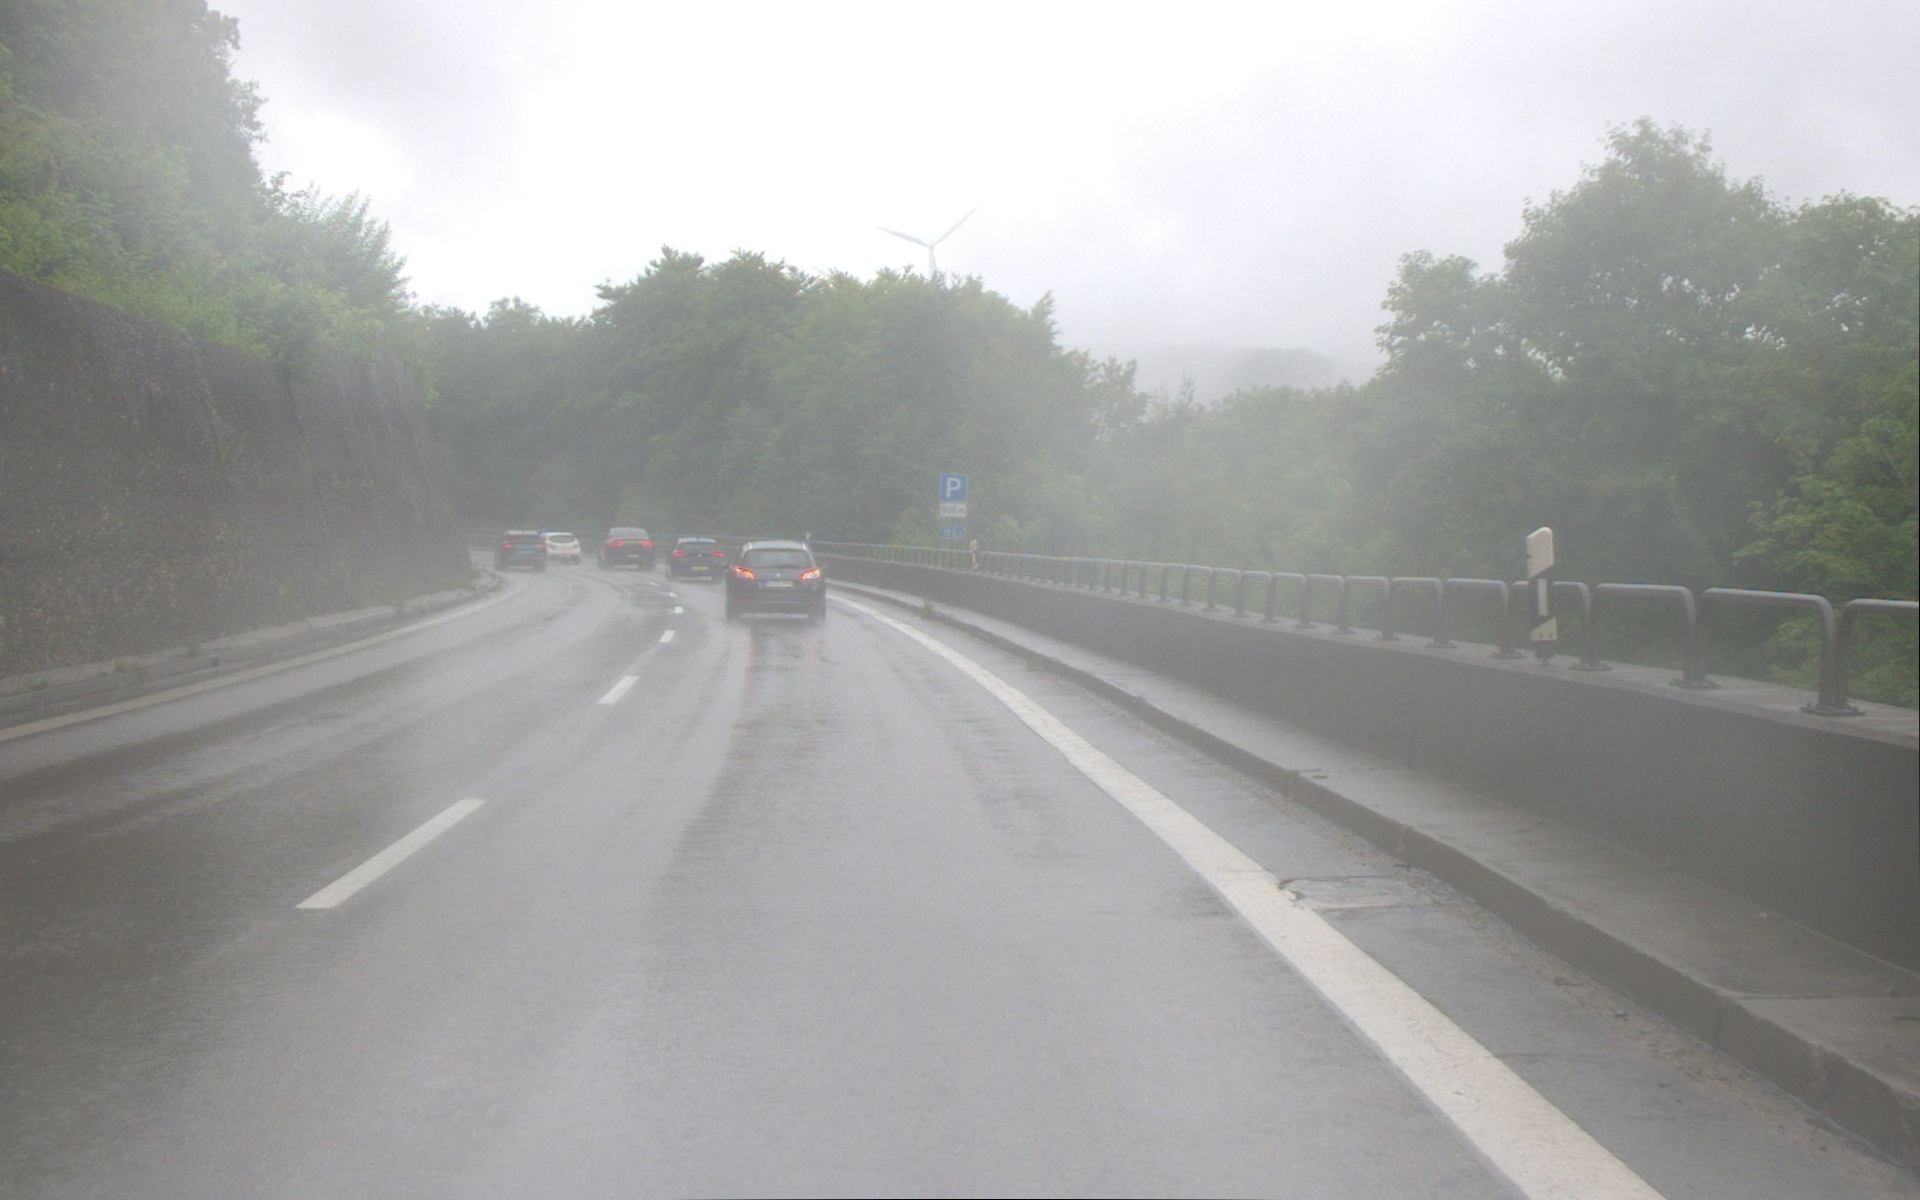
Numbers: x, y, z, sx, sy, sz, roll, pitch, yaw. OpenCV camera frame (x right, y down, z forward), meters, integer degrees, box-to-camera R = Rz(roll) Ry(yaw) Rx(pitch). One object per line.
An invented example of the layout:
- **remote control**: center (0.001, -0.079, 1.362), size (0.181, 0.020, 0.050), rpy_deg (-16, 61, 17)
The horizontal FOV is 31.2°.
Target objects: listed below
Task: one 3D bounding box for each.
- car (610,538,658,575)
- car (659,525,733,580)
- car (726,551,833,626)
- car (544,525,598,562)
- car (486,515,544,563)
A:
- **car**: center (-13.190, -1.770, 138.917), size (1.800, 1.462, 4.001), rpy_deg (0, 1, -7)
- **car**: center (-8.704, -1.552, 112.947), size (1.993, 1.744, 4.001), rpy_deg (1, 1, -10)
- **car**: center (-3.298, -0.234, 63.359), size (1.800, 1.303, 4.000), rpy_deg (0, 1, -1)
- **car**: center (-17.631, -2.562, 155.714), size (1.993, 1.657, 4.001), rpy_deg (0, 1, -13)
- **car**: center (-17.948, -2.456, 138.627), size (1.993, 1.897, 4.001), rpy_deg (1, 1, -12)
